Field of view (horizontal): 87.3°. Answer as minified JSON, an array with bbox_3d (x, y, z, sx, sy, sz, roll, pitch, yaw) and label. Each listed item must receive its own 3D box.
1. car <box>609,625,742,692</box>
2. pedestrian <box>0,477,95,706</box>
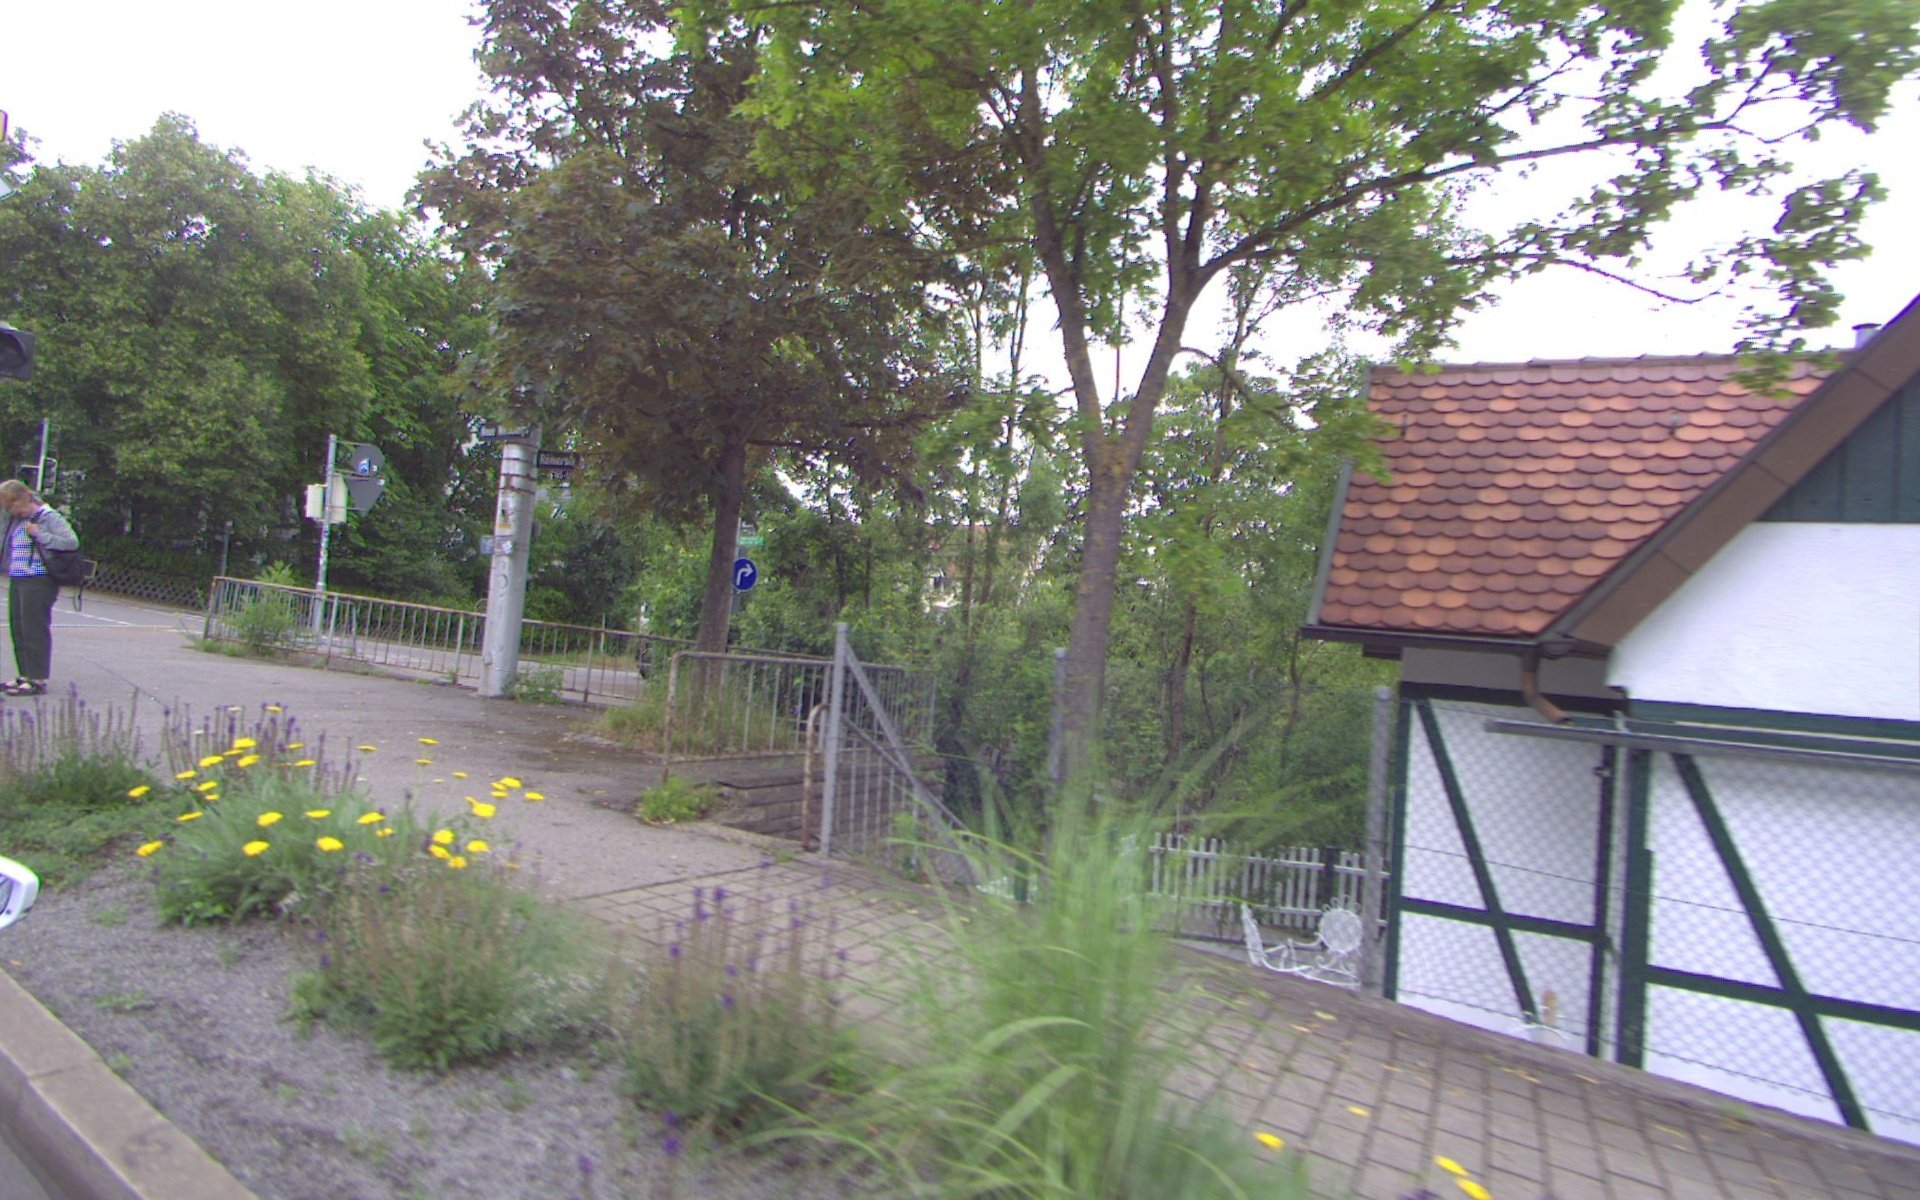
[{"bbox_3d":[-9.194,1.972,32.938,1.715,1.635,4.275,7,-5,23],"label":"car"},{"bbox_3d":[-7.345,-0.072,7.892,0.689,1.709,0.613,6,0,-38],"label":"pedestrian"}]
